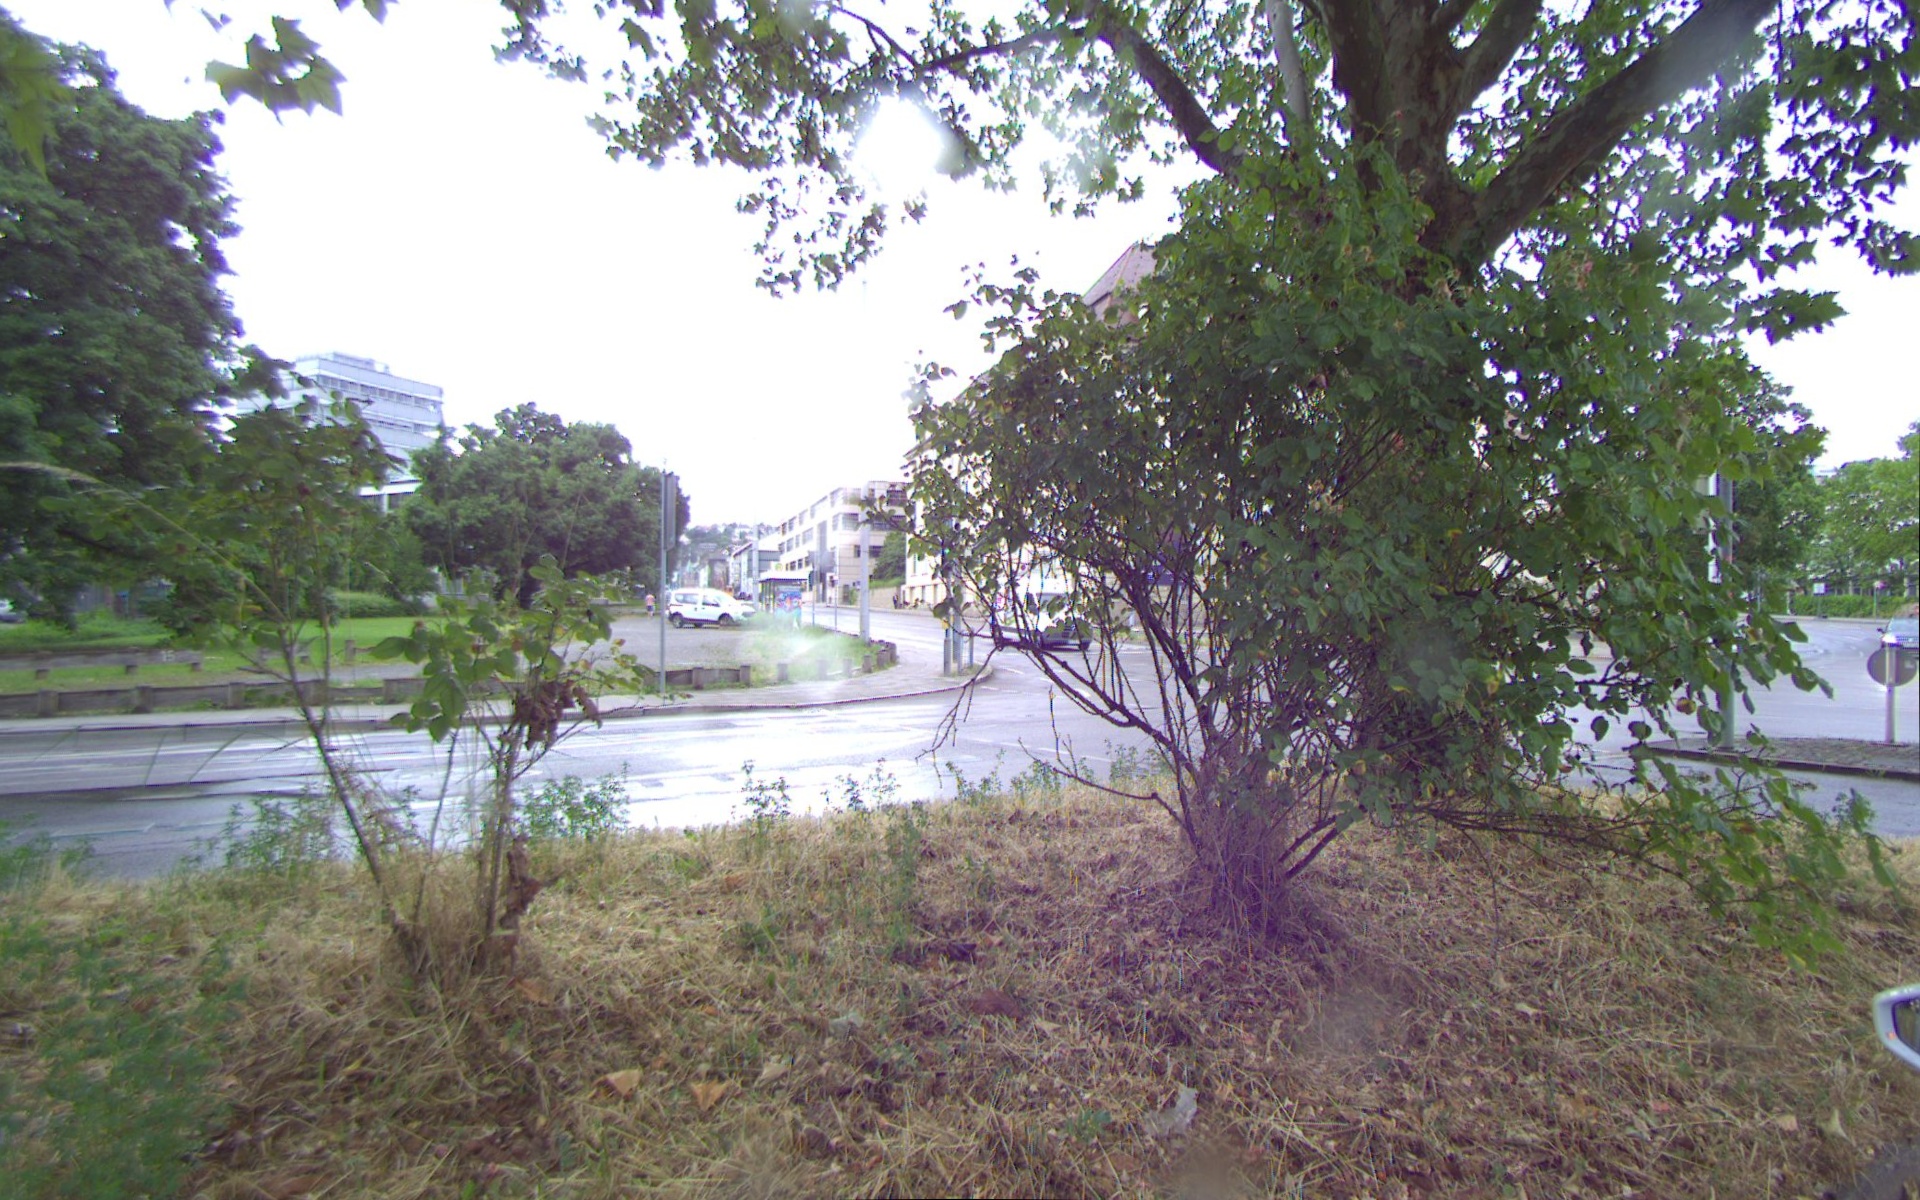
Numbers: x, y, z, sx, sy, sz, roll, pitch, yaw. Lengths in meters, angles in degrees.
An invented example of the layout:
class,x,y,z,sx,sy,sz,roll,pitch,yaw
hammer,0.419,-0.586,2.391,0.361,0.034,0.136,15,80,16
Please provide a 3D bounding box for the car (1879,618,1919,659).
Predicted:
class,x,y,z,sx,sy,sz,roll,pitch,yaw
car,39.309,1.562,41.566,1.847,1.585,4.252,-1,-1,43

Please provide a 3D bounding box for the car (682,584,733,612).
class,x,y,z,sx,sy,sz,roll,pitch,yaw
car,-17.054,-0.109,67.778,1.838,1.765,4.029,1,-1,-39

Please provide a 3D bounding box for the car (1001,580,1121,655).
class,x,y,z,sx,sy,sz,roll,pitch,yaw
car,3.597,0.586,37.184,2.034,2.527,6.010,0,0,-20

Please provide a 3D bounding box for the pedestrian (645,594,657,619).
class,x,y,z,sx,sy,sz,roll,pitch,yaw
pedestrian,-19.292,0.385,62.798,0.557,1.548,0.669,2,0,-8

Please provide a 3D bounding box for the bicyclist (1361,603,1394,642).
class,x,y,z,sx,sy,sz,roll,pitch,yaw
bicyclist,18.400,0.996,44.247,1.113,1.654,0.698,2,0,44

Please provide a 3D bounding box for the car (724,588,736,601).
class,x,y,z,sx,sy,sz,roll,pitch,yaw
car,-48.391,-1.101,210.948,1.969,2.652,3.983,2,0,-19

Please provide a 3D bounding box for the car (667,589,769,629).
class,x,y,z,sx,sy,sz,roll,pitch,yaw
car,-11.276,0.390,46.799,4.420,1.791,1.833,0,-1,24

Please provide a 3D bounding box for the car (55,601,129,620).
class,x,y,z,sx,sy,sz,roll,pitch,yaw
car,-60.329,0.705,69.848,3.500,1.158,1.586,2,0,-18

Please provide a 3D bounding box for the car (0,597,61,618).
class,x,y,z,sx,sy,sz,roll,pitch,yaw
car,-58.519,0.461,62.486,3.500,1.158,1.586,2,0,-18

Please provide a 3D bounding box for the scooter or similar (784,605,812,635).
class,x,y,z,sx,sy,sz,roll,pitch,yaw
scooter or similar,-6.574,0.797,40.847,0.541,1.182,1.253,2,0,20

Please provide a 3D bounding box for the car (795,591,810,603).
class,x,y,z,sx,sy,sz,roll,pitch,yaw
car,-23.364,-0.386,148.641,1.814,1.581,3.987,2,1,-14

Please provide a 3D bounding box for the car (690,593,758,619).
class,x,y,z,sx,sy,sz,roll,pitch,yaw
car,-14.775,0.360,62.844,4.004,1.461,1.850,2,0,32

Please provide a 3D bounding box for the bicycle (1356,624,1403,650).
class,x,y,z,sx,sy,sz,roll,pitch,yaw
bicycle,18.438,1.621,44.185,1.796,1.070,0.644,1,-1,45
